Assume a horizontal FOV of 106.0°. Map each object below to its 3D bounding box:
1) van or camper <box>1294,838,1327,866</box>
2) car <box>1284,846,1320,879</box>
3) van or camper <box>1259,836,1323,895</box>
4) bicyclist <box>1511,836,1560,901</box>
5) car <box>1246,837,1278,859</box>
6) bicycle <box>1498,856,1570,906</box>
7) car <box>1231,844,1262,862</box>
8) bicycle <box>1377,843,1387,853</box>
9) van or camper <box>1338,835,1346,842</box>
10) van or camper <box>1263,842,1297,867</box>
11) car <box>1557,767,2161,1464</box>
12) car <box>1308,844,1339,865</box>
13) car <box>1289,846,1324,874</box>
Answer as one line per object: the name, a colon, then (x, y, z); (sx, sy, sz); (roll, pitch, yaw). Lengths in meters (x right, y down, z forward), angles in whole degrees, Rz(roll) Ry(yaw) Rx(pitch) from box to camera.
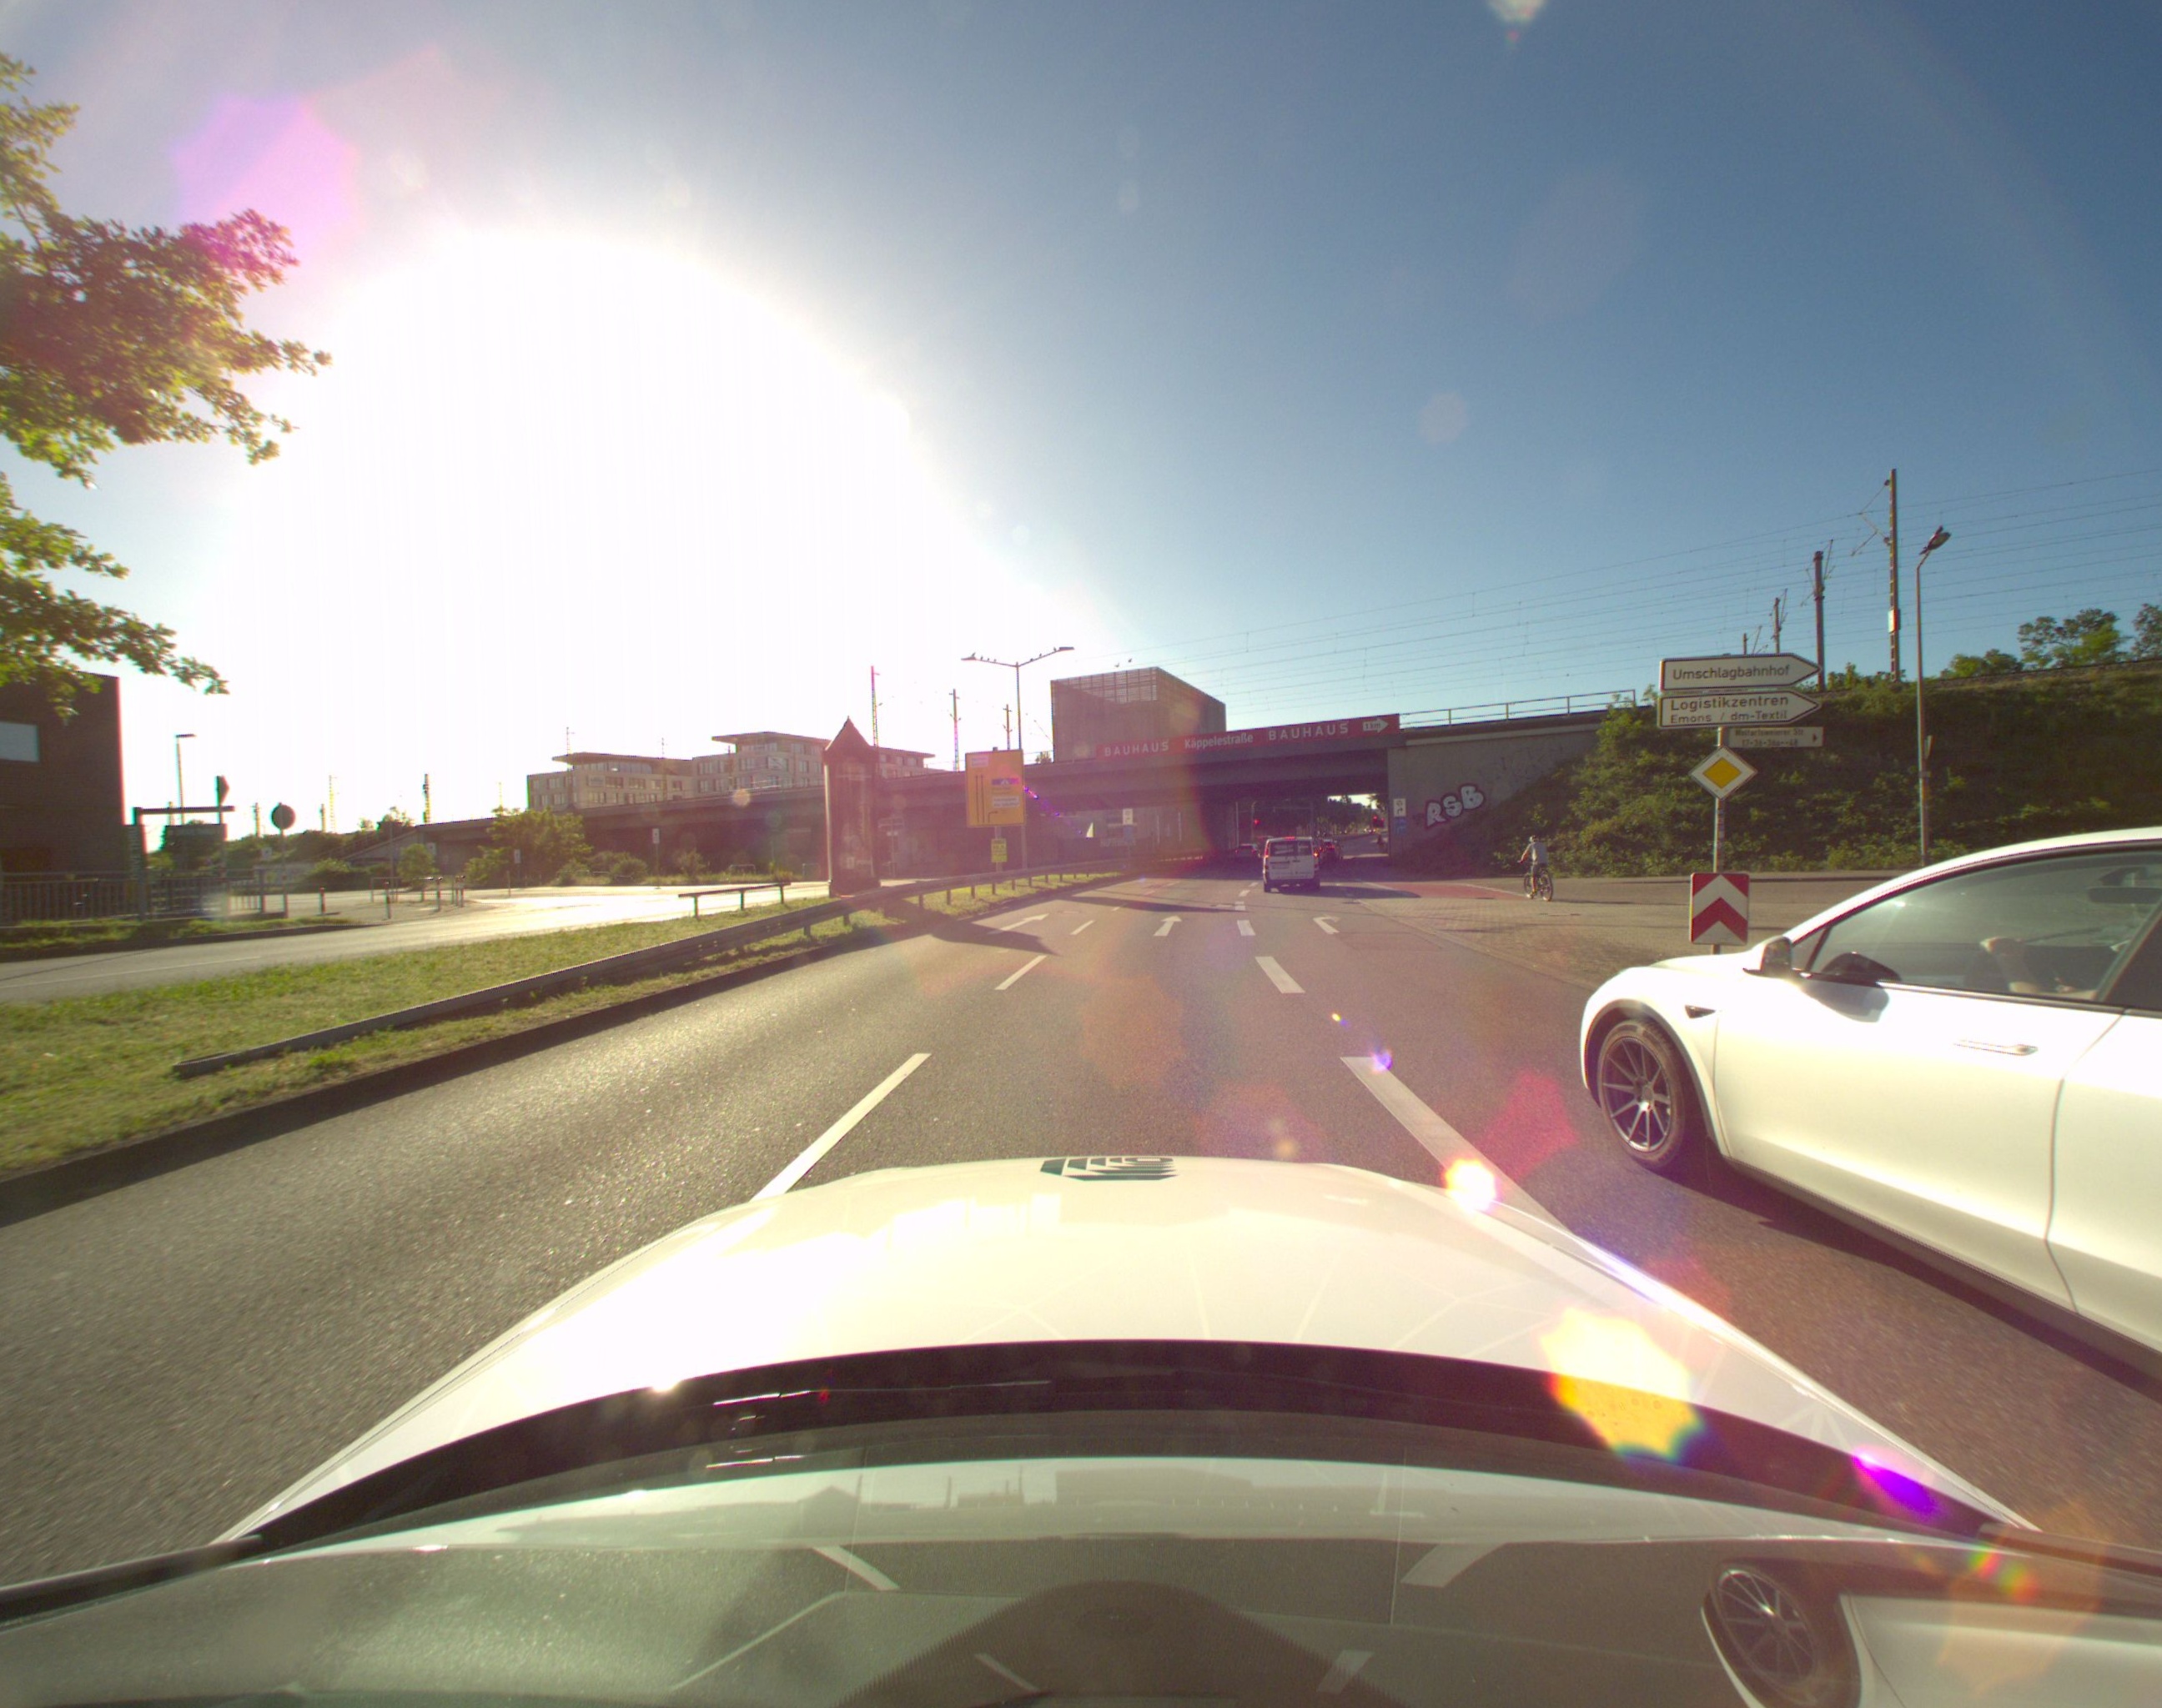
van or camper: (15.426, -0.133, 54.622); (1.810, 1.791, 4.567); (-1, 0, 20)
car: (10.685, 0.386, 39.252); (1.592, 1.434, 3.694); (-1, 1, 16)
van or camper: (7.647, 0.363, 29.380); (1.943, 1.884, 4.902); (-2, 0, 17)
bicyclist: (11.837, 0.357, 21.230); (0.742, 1.619, 0.915); (-4, 1, 7)
car: (16.364, -0.552, 73.488); (1.849, 1.947, 4.622); (-1, 0, 24)
bicycle: (11.882, 0.681, 21.463); (0.739, 1.112, 2.456); (-4, 1, 7)
car: (13.536, -0.101, 66.489); (1.693, 1.452, 3.764); (-1, 0, 24)
bicycle: (26.594, -0.540, 71.989); (0.765, 0.893, 2.007); (-4, -1, 21)
van or camper: (78.813, -4.622, 246.019); (1.770, 1.863, 3.929); (-4, -1, 21)
van or camper: (14.987, 0.013, 61.134); (1.738, 1.813, 3.981); (-1, 0, 24)
car: (3.527, 0.645, 2.312); (1.907, 1.641, 4.411); (1, -2, 2)
car: (18.079, 0.014, 60.590); (1.693, 1.522, 3.764); (-1, 0, 24)
car: (13.036, 0.312, 46.907); (1.749, 1.475, 4.308); (-2, 0, 17)
